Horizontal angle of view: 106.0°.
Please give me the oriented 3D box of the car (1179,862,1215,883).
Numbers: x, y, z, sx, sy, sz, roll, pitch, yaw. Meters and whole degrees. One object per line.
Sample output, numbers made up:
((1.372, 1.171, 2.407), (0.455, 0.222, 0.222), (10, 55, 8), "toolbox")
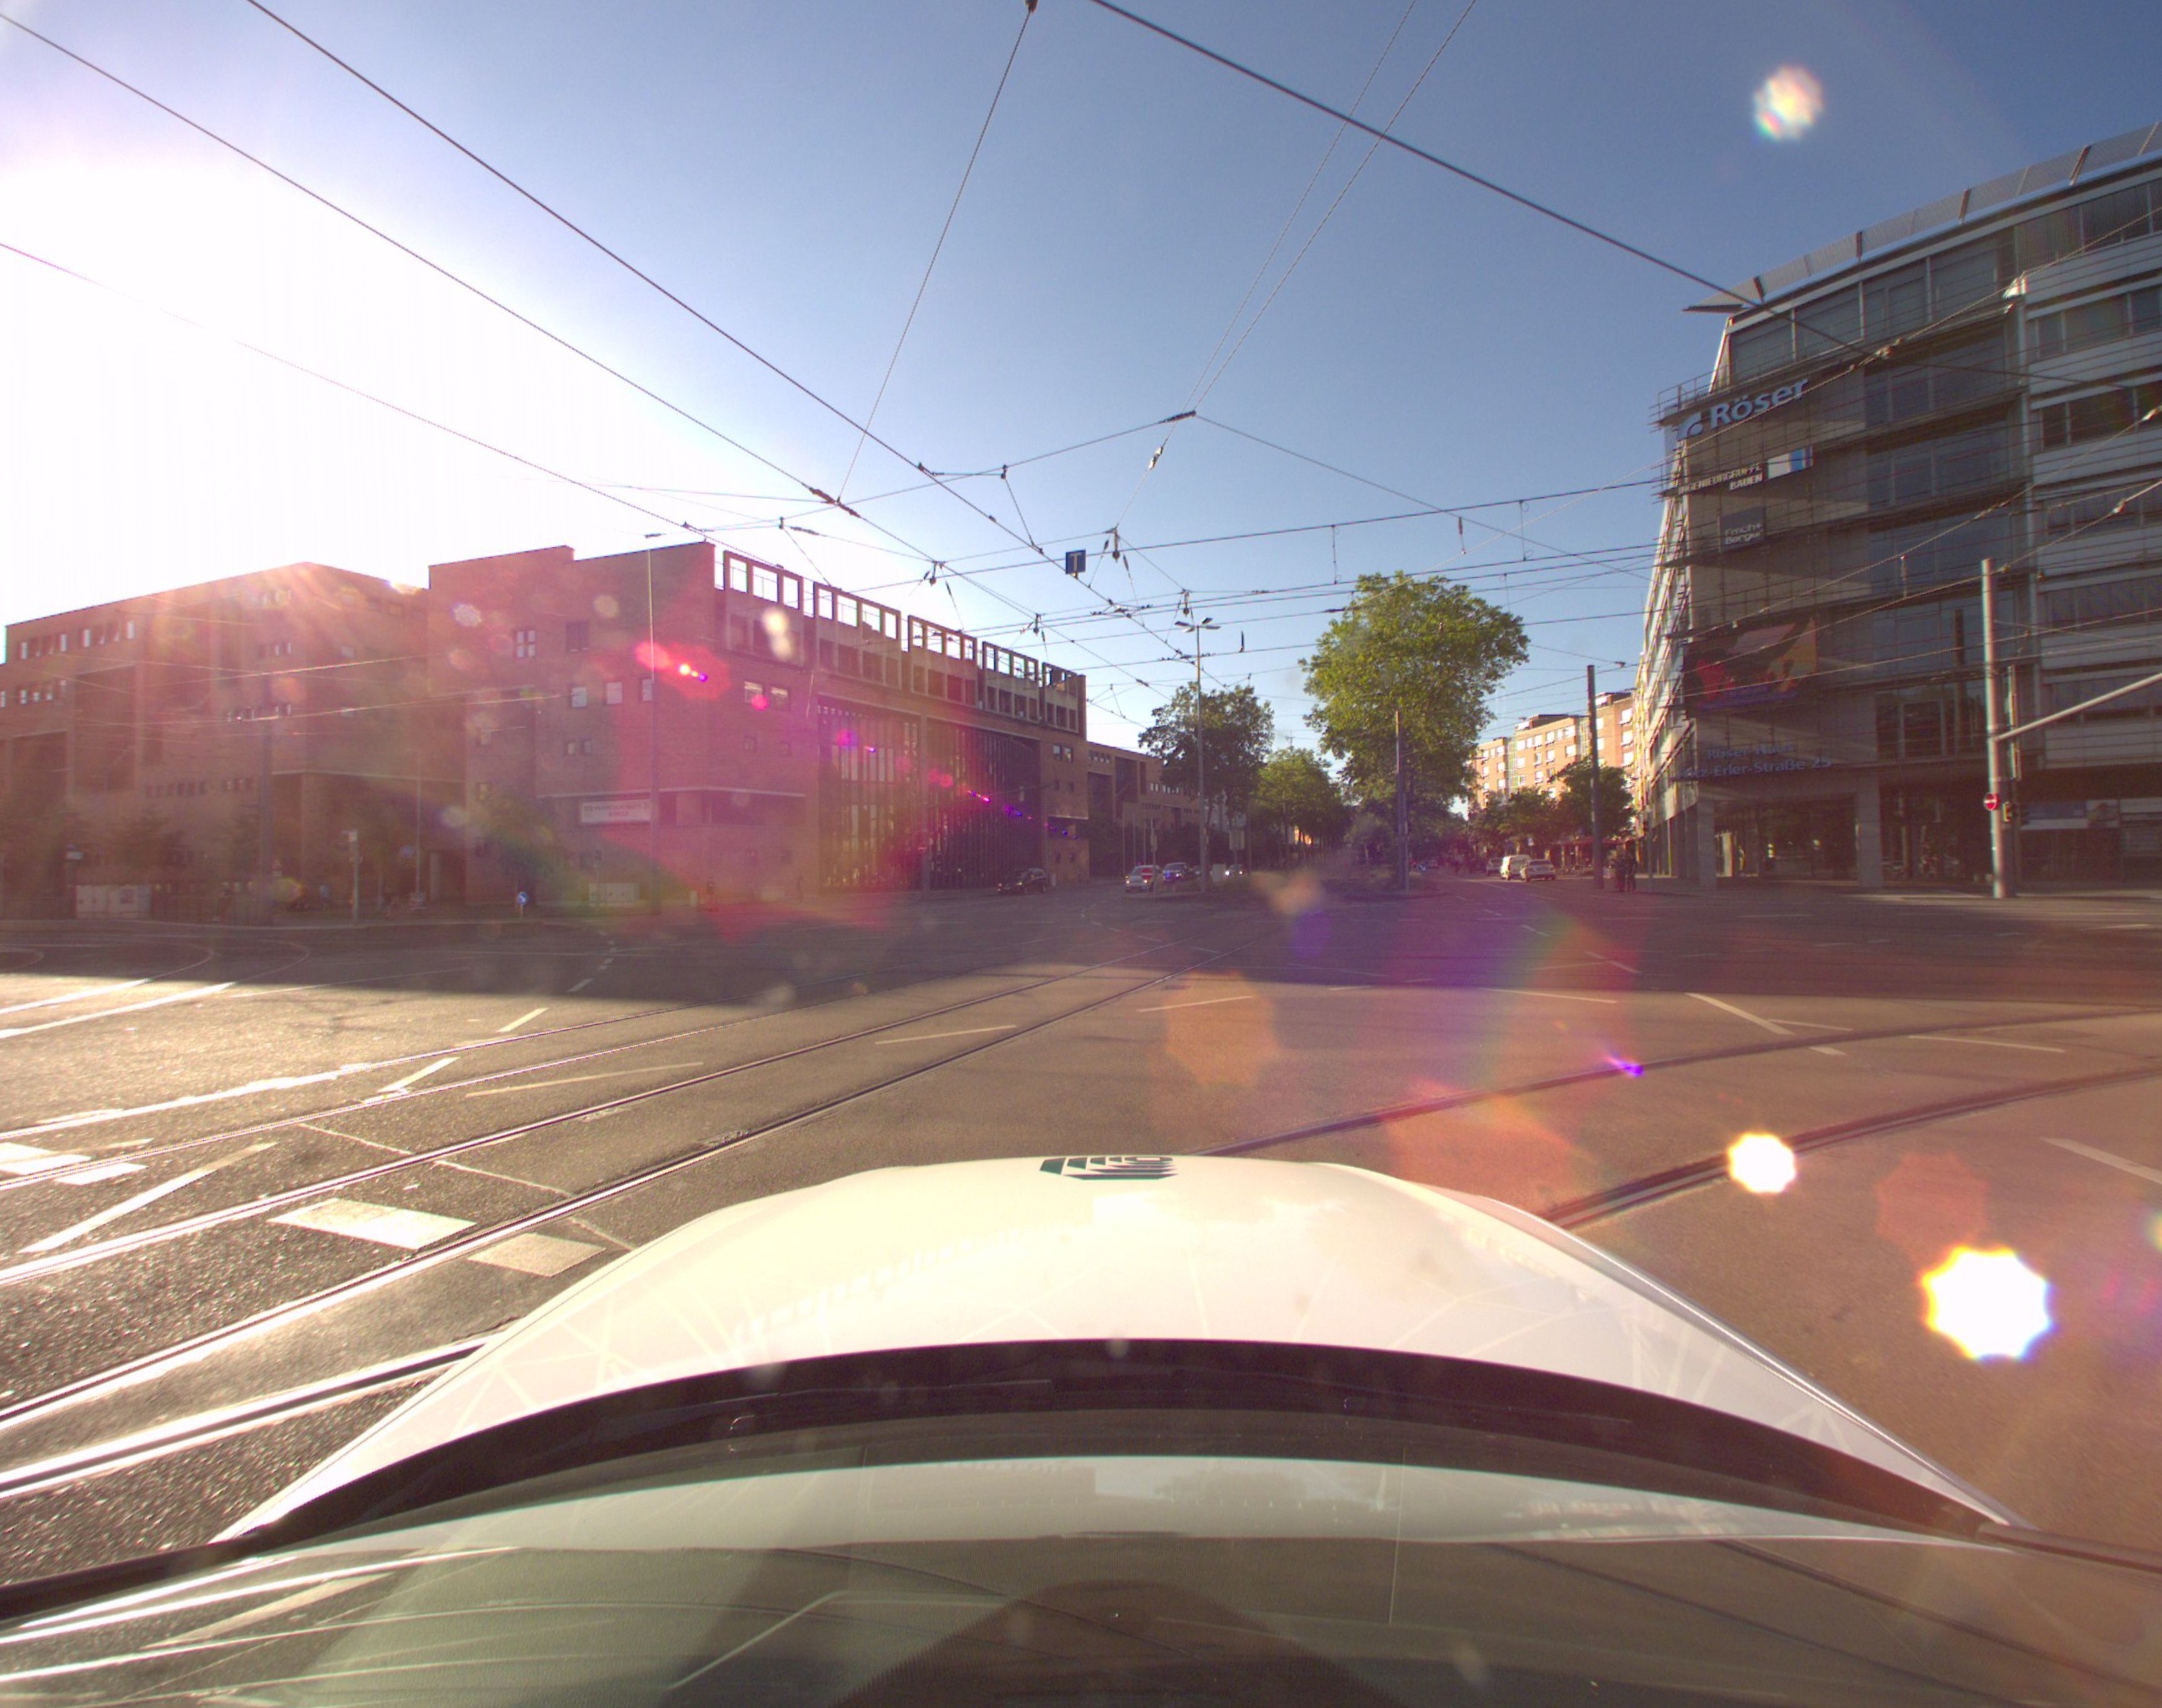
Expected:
((9.328, 1.490, 65.184), (1.837, 1.552, 4.348), (-2, -1, 21), "car")

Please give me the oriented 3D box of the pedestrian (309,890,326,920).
((-46.012, 3.055, 49.100), (0.686, 1.756, 0.541), (-2, -2, 29), "pedestrian")

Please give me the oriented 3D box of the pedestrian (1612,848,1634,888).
((24.796, 0.635, 37.250), (0.540, 1.824, 0.590), (-2, -1, 6), "pedestrian")

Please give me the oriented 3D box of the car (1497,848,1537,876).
((33.064, 0.594, 61.888), (1.977, 2.014, 4.407), (-2, -1, 20), "car")

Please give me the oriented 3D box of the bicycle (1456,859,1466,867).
((40.307, 0.972, 86.280), (0.810, 0.774, 1.740), (-3, -1, 29), "bicycle")

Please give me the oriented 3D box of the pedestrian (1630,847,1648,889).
((24.854, 0.625, 36.297), (0.371, 1.824, 0.547), (-2, -1, 6), "pedestrian")

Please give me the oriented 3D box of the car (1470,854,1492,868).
((47.171, 0.849, 96.129), (2.242, 1.552, 4.350), (-3, -1, 25), "car")

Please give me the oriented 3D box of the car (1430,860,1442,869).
((63.545, 1.940, 145.899), (1.837, 1.552, 4.349), (-2, -1, 24), "car")

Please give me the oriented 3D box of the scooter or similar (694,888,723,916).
((-17.902, 2.300, 39.103), (1.122, 1.318, 0.530), (-2, -1, 10), "scooter or similar")

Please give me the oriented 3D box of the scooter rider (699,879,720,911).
((-17.823, 1.961, 39.086), (0.715, 1.461, 0.509), (-2, -1, 11), "scooter rider")

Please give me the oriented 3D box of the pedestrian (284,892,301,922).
((-46.891, 3.152, 48.432), (0.686, 1.756, 0.541), (-2, -2, 29), "pedestrian")

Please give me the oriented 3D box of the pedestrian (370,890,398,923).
((-33.272, 2.497, 38.878), (0.841, 1.539, 0.719), (-2, -1, 27), "pedestrian")

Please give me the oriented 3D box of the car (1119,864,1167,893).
((3.907, 1.488, 50.468), (1.715, 1.597, 4.348), (-2, -1, 21), "car")

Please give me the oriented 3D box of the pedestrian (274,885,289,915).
((-48.201, 2.781, 49.102), (0.417, 1.756, 0.541), (-2, -1, 22), "pedestrian")

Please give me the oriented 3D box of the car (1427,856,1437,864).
((75.297, 1.325, 174.584), (1.837, 1.552, 4.350), (-2, -1, 24), "car")

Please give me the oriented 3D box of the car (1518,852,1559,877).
((30.969, 0.710, 55.217), (1.837, 1.552, 4.349), (-2, -1, 23), "car")

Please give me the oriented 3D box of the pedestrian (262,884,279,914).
((-47.911, 2.662, 48.129), (0.459, 1.756, 0.540), (-2, -1, 18), "pedestrian")

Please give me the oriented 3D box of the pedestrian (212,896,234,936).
((-33.749, 2.448, 32.043), (0.544, 1.539, 0.494), (-3, -2, 33), "pedestrian")

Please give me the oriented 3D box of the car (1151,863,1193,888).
((6.460, 1.468, 57.325), (1.837, 1.651, 4.348), (-2, -1, 21), "car")

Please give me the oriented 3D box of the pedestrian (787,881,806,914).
((-15.225, 2.331, 43.519), (0.826, 1.716, 0.658), (-1, -1, -29), "pedestrian")

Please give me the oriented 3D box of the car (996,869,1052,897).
((-3.715, 1.869, 53.726), (1.817, 1.654, 4.524), (-3, -1, 21), "car")

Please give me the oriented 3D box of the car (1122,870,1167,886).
((6.105, 2.309, 78.083), (4.016, 1.376, 1.901), (-1, -1, -34), "car")

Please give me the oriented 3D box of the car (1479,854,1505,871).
((38.454, 0.784, 76.279), (1.837, 1.552, 4.349), (-2, -1, 23), "car")

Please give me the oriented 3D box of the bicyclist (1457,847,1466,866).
((40.405, 0.251, 86.459), (0.745, 2.014, 0.748), (-1, -1, 30), "bicyclist")

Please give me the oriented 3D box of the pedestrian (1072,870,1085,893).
((-0.197, 2.499, 74.210), (0.761, 2.014, 0.889), (-1, -2, -35), "pedestrian")

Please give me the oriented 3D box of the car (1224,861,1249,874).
((15.394, 1.318, 80.720), (1.834, 1.222, 4.001), (-2, -1, 2), "car")

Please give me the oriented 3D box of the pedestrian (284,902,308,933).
((-46.097, 3.710, 47.822), (0.690, 1.756, 0.735), (-2, -1, 2), "pedestrian")

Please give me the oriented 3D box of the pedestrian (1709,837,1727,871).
((38.262, 0.007, 48.924), (0.667, 2.014, 0.518), (-3, -2, 24), "pedestrian")
